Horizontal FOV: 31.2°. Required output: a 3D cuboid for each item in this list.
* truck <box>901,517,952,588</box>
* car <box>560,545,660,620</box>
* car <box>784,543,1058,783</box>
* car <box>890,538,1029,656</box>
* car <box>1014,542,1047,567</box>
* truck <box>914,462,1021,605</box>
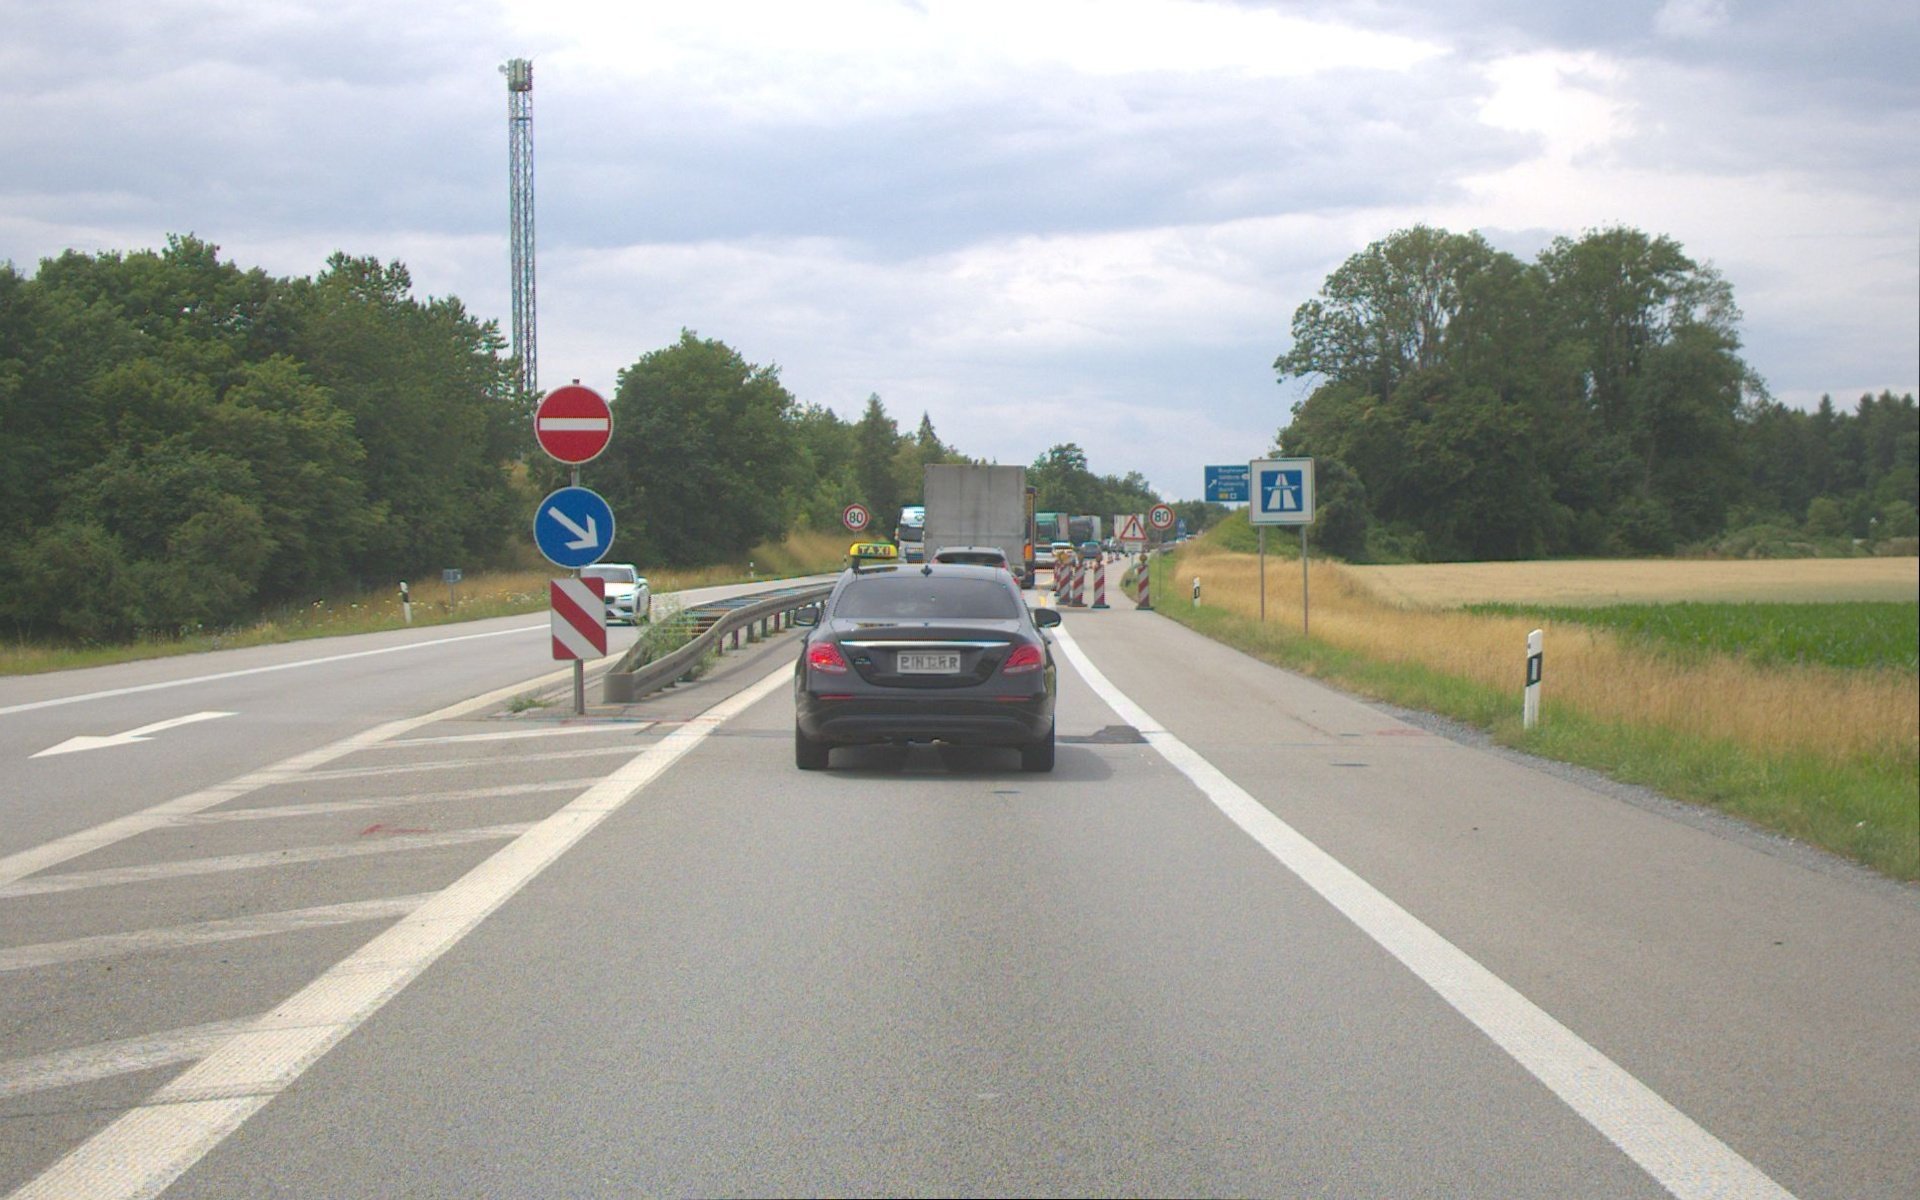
[{"bbox_3d":[-2.020,-2.888,210.422,2.799,4.128,7.228,2,0,1],"label":"truck"},{"bbox_3d":[-8.159,-0.398,80.478,1.817,1.627,4.602,2,0,0],"label":"car"},{"bbox_3d":[-0.257,0.425,25.094,1.796,1.554,4.000,2,0,0],"label":"car"},{"bbox_3d":[-0.052,-0.062,62.174,1.993,2.007,4.001,2,0,-7],"label":"car"},{"bbox_3d":[4.157,-2.686,202.955,1.649,1.391,3.706,2,0,-2],"label":"car"},{"bbox_3d":[0.225,-1.673,88.810,2.587,3.512,4.812,2,0,1],"label":"truck"}]
